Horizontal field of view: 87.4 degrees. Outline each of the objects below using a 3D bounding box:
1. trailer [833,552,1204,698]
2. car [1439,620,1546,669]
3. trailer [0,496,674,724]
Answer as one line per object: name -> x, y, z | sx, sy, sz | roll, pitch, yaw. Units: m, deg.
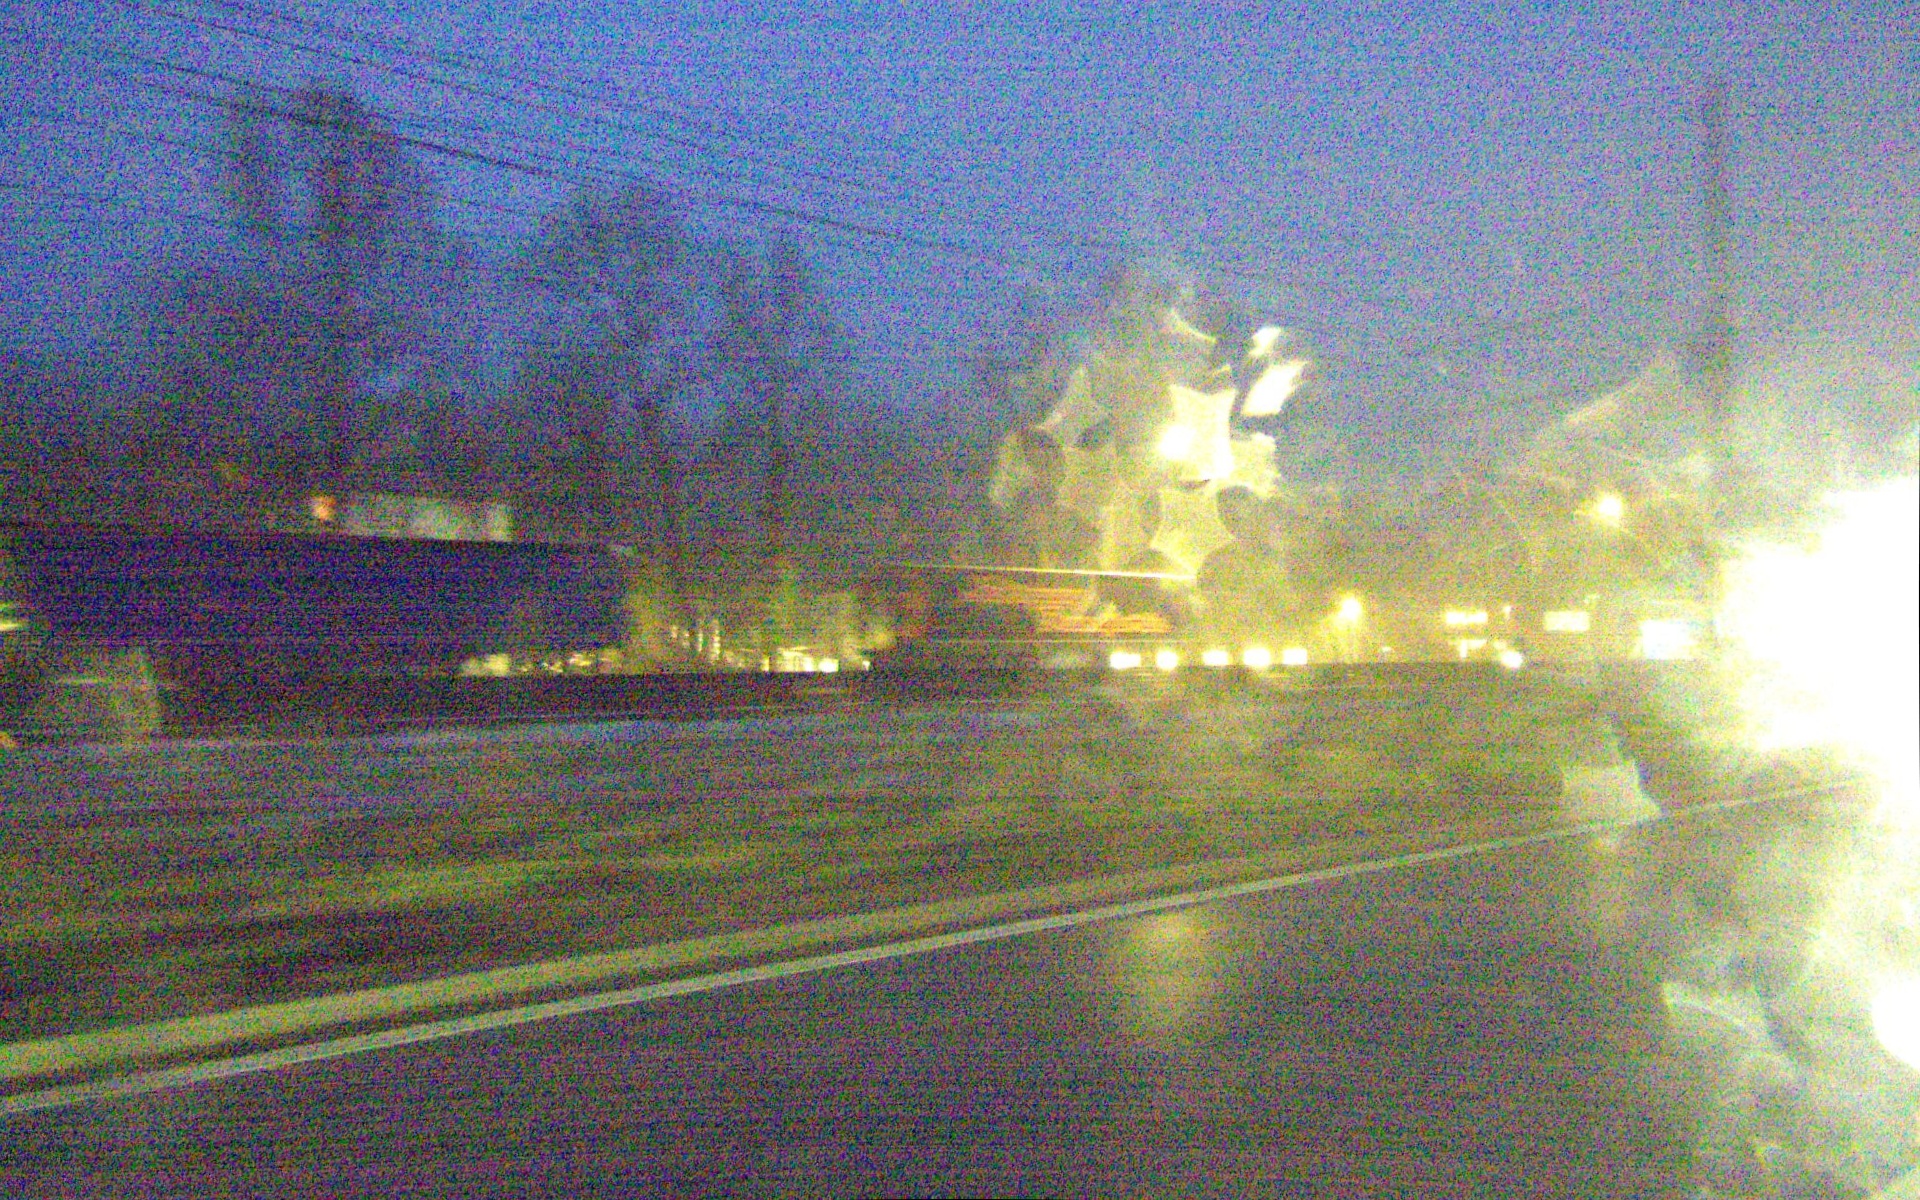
trailer -> 2.553, 0.984, 37.675 | 14.087, 4.671, 3.950 | 2, 0, -32
car -> 20.087, 1.634, 37.869 | 4.172, 1.716, 1.776 | 1, -1, -32
trailer -> -15.523, 0.364, 25.488 | 15.341, 4.671, 3.950 | 2, 0, -32
